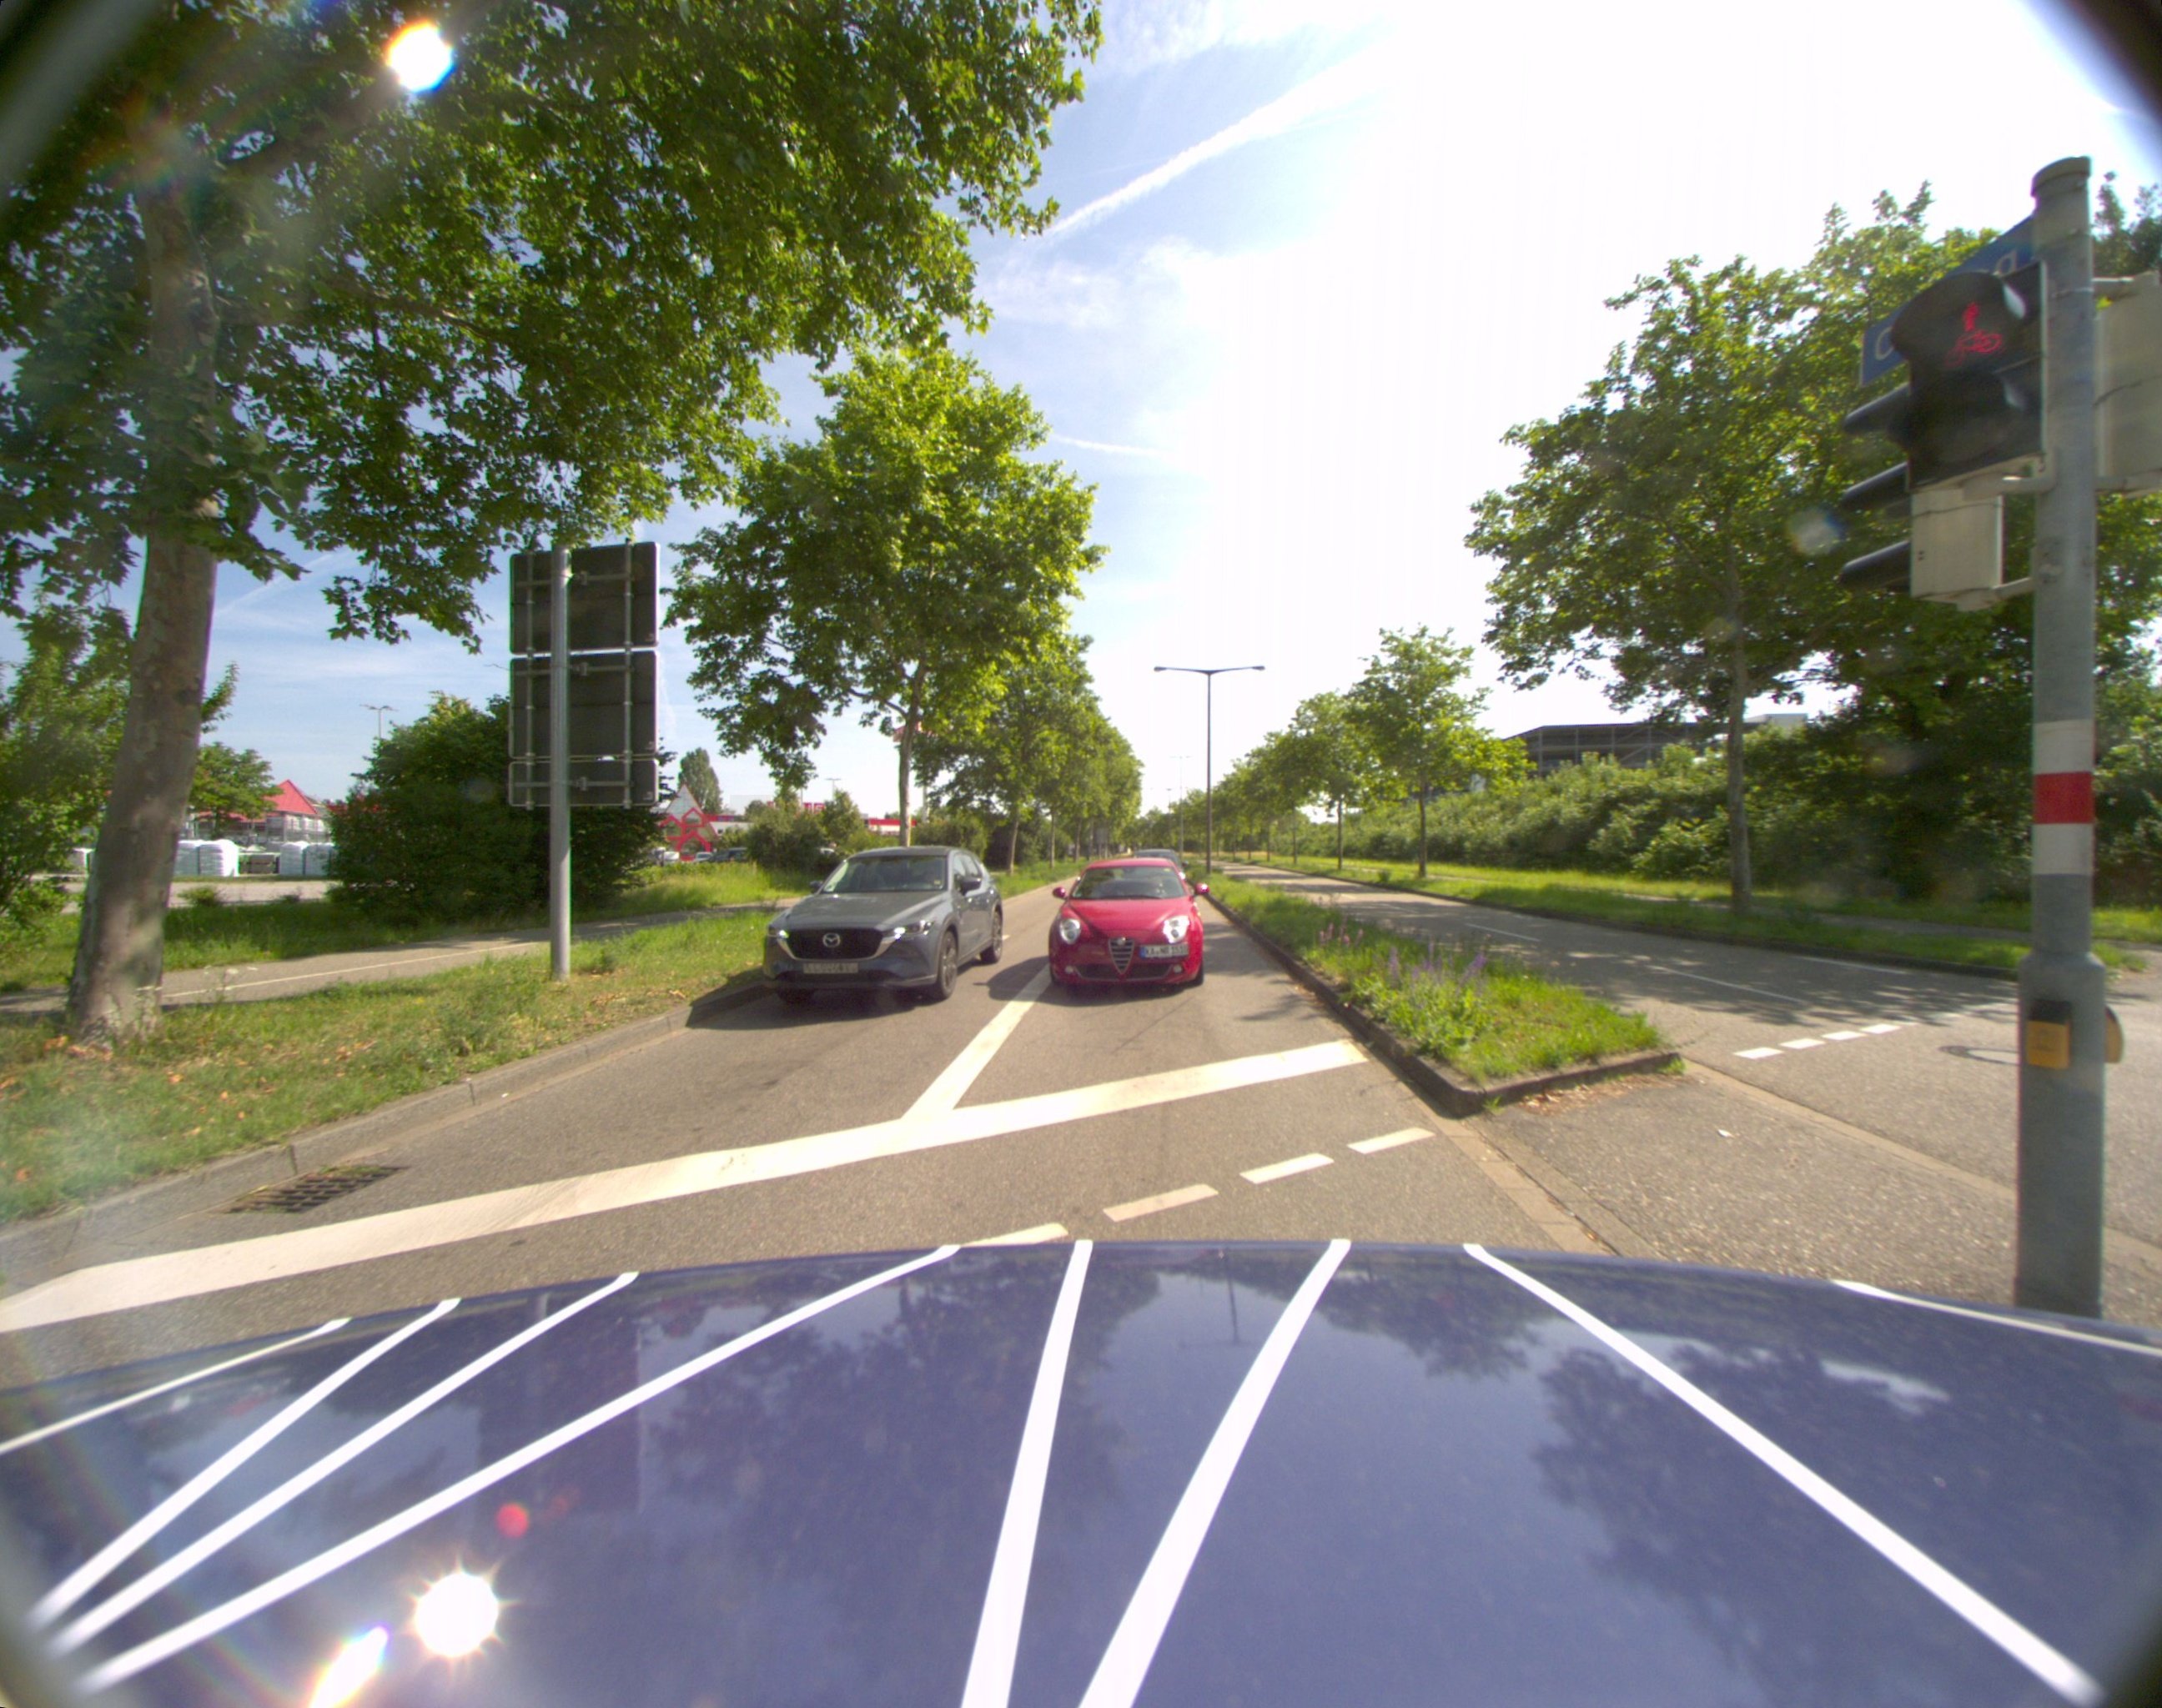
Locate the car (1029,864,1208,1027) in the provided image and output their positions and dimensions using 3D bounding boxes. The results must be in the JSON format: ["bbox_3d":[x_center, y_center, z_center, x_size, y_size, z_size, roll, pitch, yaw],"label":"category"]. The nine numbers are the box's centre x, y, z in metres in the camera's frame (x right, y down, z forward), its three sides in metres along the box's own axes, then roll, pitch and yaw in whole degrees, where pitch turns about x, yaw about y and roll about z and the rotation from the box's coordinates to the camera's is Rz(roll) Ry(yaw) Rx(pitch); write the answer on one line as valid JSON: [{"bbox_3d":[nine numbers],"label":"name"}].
[{"bbox_3d":[0.548,0.907,9.173,1.658,1.430,3.909,-2,1,6],"label":"car"}]

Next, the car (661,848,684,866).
[{"bbox_3d":[-36.901,0.265,68.617,1.693,1.565,3.990,0,1,-30],"label":"car"}]

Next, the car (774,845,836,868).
[{"bbox_3d":[-19.930,0.157,54.927,3.869,1.576,1.845,0,1,-33],"label":"car"}]

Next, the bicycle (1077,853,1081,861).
[{"bbox_3d":[-0.397,0.538,130.536,0.687,1.230,1.934,0,1,-1],"label":"bicycle"}]

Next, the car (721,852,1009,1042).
[{"bbox_3d":[-2.181,0.852,9.122,1.769,1.649,4.497,-2,1,5],"label":"car"}]

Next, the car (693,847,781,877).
[{"bbox_3d":[-18.414,0.405,40.774,3.859,1.576,1.849,0,1,-1],"label":"car"}]

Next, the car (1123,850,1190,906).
[{"bbox_3d":[2.333,0.665,23.500,1.873,1.536,4.082,0,1,6],"label":"car"}]
